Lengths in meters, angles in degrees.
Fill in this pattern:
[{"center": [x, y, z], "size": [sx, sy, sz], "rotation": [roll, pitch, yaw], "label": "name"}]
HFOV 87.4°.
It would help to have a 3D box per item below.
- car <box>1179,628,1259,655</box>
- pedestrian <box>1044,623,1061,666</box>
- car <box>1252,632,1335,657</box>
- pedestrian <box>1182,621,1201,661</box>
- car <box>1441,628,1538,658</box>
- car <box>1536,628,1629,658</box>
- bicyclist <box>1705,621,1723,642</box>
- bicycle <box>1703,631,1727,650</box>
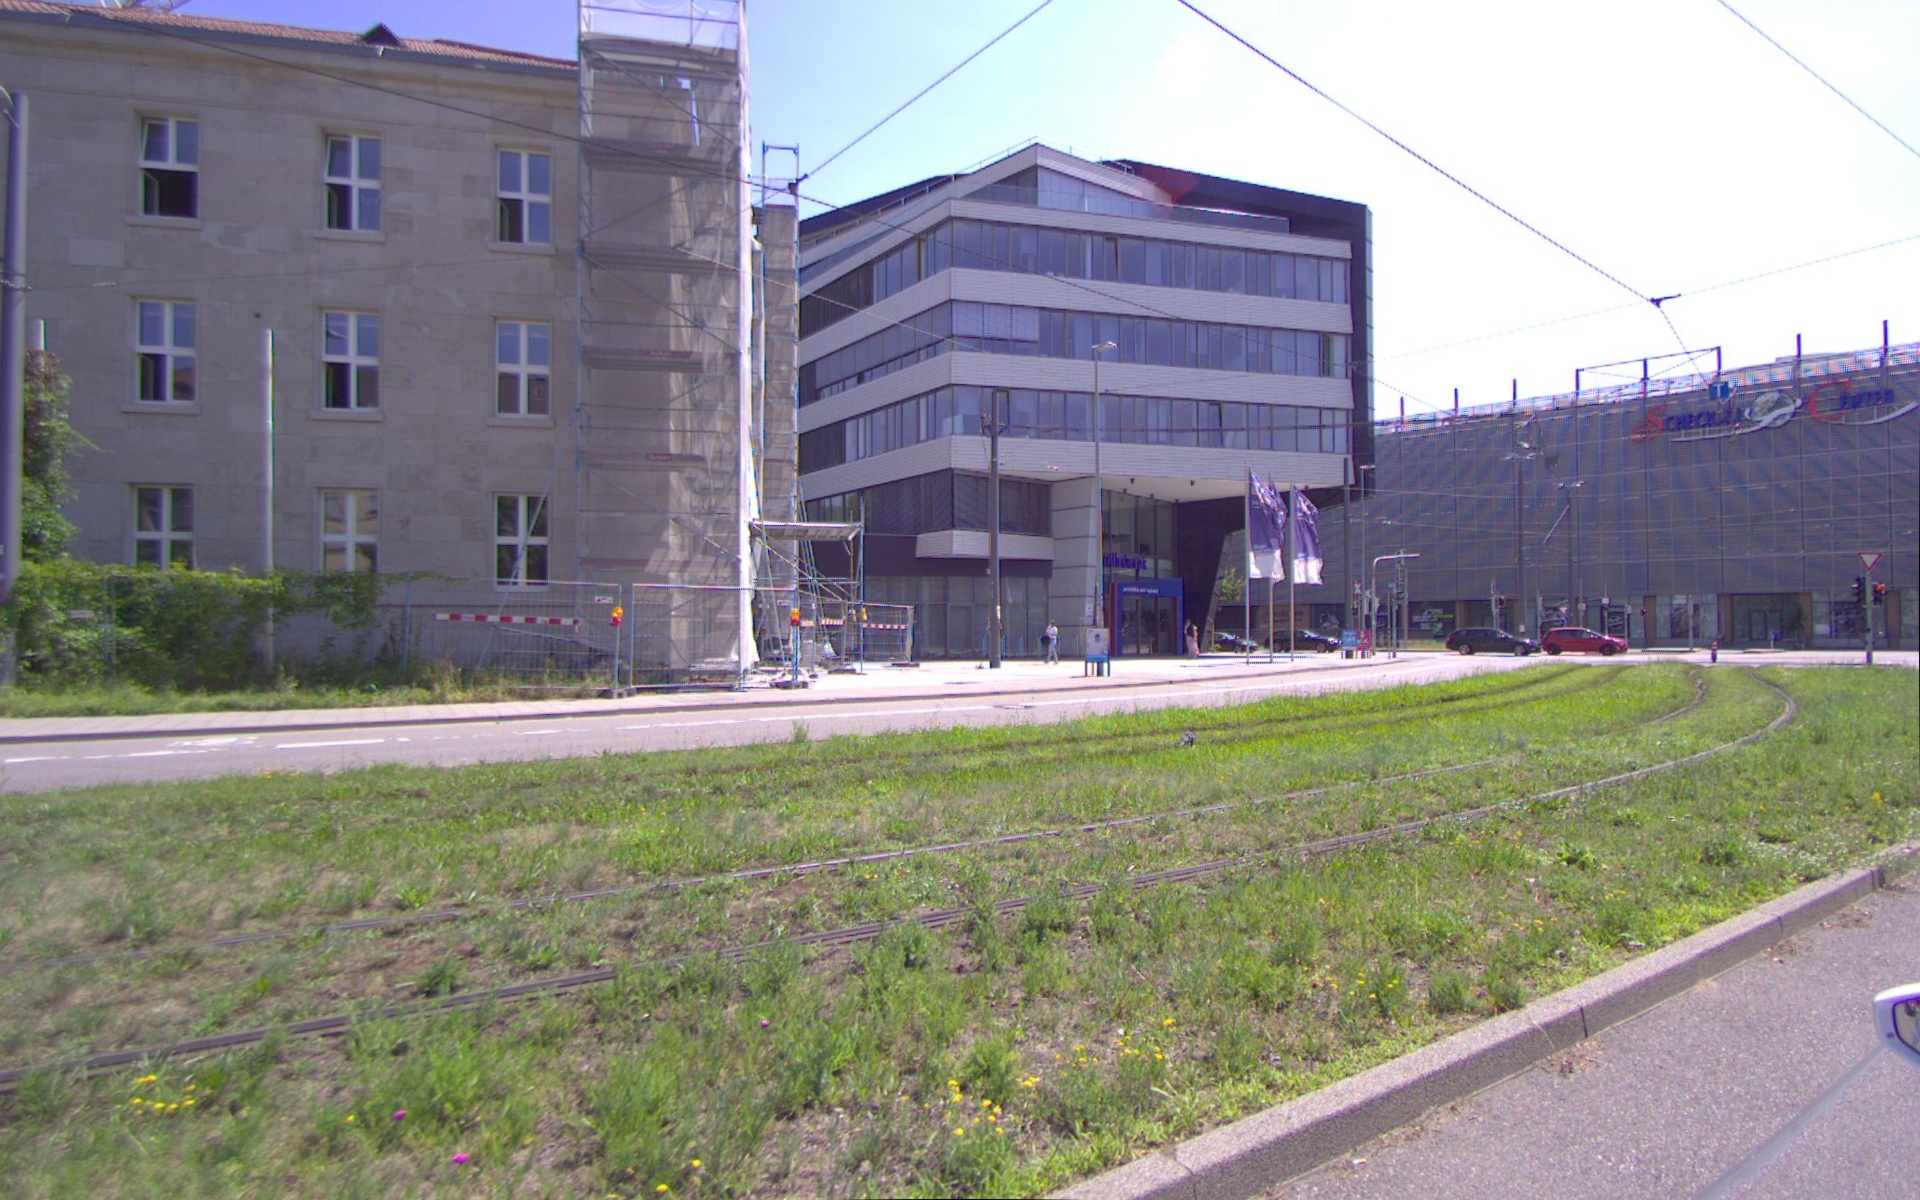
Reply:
[{"center": [16.328, 2.615, 63.373], "size": [4.493, 1.597, 1.992], "rotation": [-1, -1, 39], "label": "car"}, {"center": [3.333, 1.609, 36.359], "size": [0.578, 1.538, 0.581], "rotation": [0, -1, 2], "label": "pedestrian"}, {"center": [21.455, 2.838, 64.739], "size": [4.706, 1.480, 1.880], "rotation": [-1, -1, 39], "label": "car"}, {"center": [9.685, 1.700, 42.060], "size": [0.734, 1.652, 0.915], "rotation": [0, -1, 17], "label": "pedestrian"}, {"center": [28.581, 2.335, 54.283], "size": [4.465, 1.528, 1.837], "rotation": [-2, -2, 34], "label": "car"}, {"center": [33.542, 2.301, 54.155], "size": [4.074, 1.528, 1.835], "rotation": [-1, -1, 38], "label": "car"}, {"center": [59.461, 2.485, 79.192], "size": [0.772, 1.592, 1.030], "rotation": [0, -1, -42], "label": "bicyclist"}, {"center": [59.681, 3.196, 79.392], "size": [3.002, 1.408, 1.052], "rotation": [1, -1, -43], "label": "bicycle"}]
